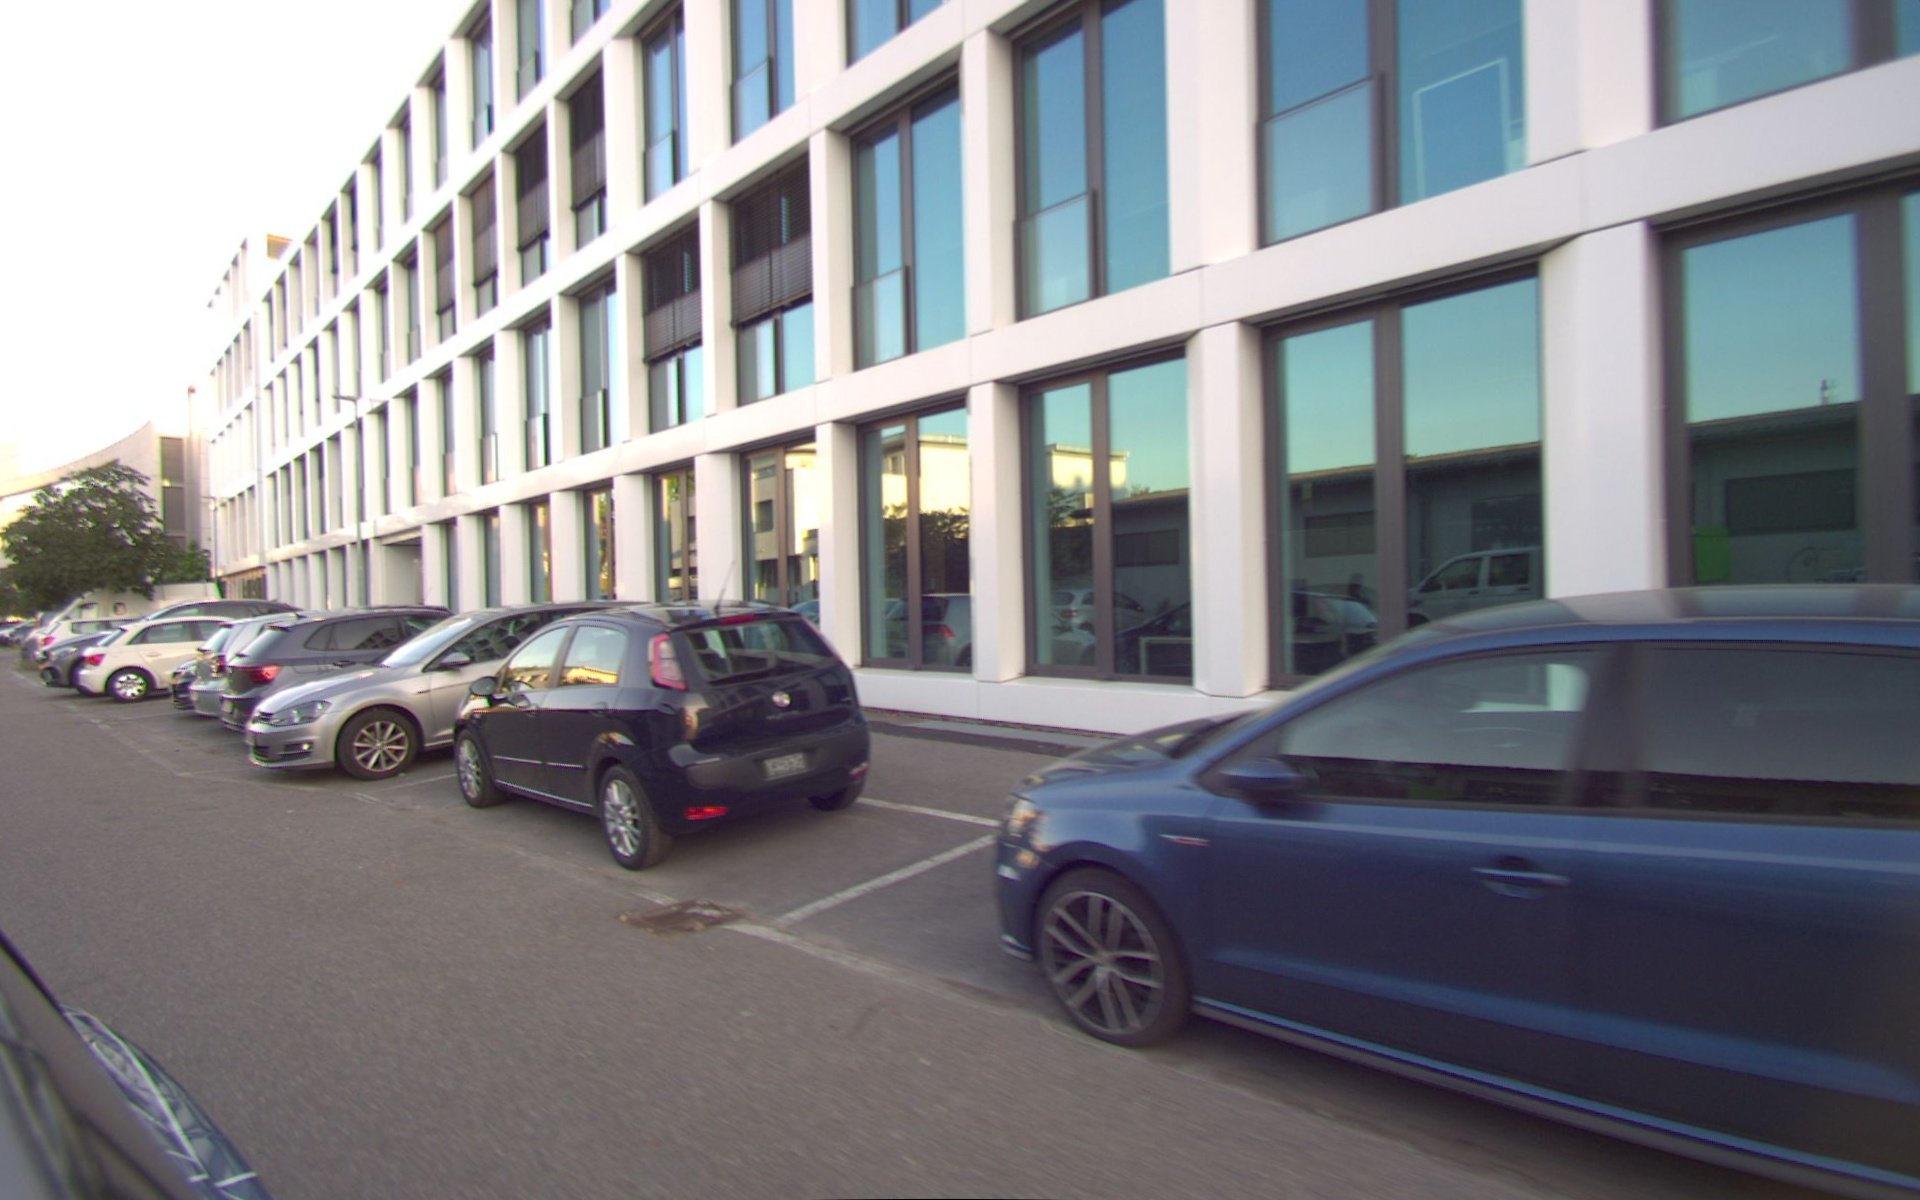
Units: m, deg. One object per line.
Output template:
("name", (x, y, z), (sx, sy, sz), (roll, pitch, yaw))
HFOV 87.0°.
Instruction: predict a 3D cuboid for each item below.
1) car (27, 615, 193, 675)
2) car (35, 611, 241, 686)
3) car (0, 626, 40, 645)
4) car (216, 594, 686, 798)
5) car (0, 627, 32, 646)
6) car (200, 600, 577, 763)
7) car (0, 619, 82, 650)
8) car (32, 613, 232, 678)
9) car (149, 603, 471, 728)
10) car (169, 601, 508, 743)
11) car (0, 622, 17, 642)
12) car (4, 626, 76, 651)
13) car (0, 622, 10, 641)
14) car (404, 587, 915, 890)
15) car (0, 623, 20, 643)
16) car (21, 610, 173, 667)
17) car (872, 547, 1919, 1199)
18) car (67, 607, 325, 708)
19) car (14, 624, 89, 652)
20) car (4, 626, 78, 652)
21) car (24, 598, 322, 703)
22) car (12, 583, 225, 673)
("car", (-25.502, 1.299, 30.418), (3.666, 1.506, 1.708), (-3, 1, -45))
("car", (-20.298, 1.147, 25.082), (1.694, 1.534, 3.740), (-2, 1, 44))
("car", (-74.523, 2.816, 78.948), (1.797, 1.371, 3.765), (-2, 2, 39))
("car", (-4.983, 0.800, 10.240), (3.880, 1.522, 1.689), (-3, 1, -44))
("car", (-76.628, 2.947, 80.599), (1.797, 1.371, 3.765), (-2, 2, 39))
("car", (-6.772, 0.857, 12.209), (3.612, 1.522, 1.689), (-3, 1, -44))
("car", (-66.898, 2.519, 73.035), (1.887, 1.895, 5.020), (-2, 2, 39))
("car", (-23.505, 1.245, 28.818), (4.257, 1.506, 1.796), (-3, 1, -43))
("car", (-9.988, 0.914, 15.722), (3.918, 1.522, 1.797), (-3, 1, -43))
("car", (-8.358, 0.875, 13.790), (3.612, 1.522, 1.689), (-3, 1, -44))
("car", (-83.140, 2.830, 86.055), (1.794, 1.595, 3.983), (-2, 1, 33))
("car", (-64.818, 2.687, 71.329), (1.726, 1.435, 3.606), (-2, 2, 43))
("car", (-84.987, 2.870, 87.330), (1.794, 1.595, 3.983), (-2, 1, 33))
("car", (-2.381, 0.748, 7.277), (4.204, 1.449, 1.630), (-1, 4, 45))
("car", (-81.090, 2.814, 84.095), (1.794, 1.595, 3.983), (-2, 1, 33))
("car", (-32.206, 1.388, 37.847), (1.815, 1.830, 4.065), (-2, 1, 41))
("car", (1.777, 0.645, 3.136), (4.184, 1.449, 1.631), (-2, 3, 43))
("car", (-14.045, 0.983, 18.723), (3.622, 1.522, 1.698), (-3, 1, -41))
("car", (-60.897, 2.536, 67.863), (1.726, 1.559, 3.605), (-2, 2, 44))
("car", (-63.000, 2.650, 69.399), (1.726, 1.435, 3.605), (-2, 2, 44))
("car", (-15.844, 0.935, 20.590), (4.562, 1.719, 2.007), (-3, 1, -41))
("car", (-28.319, 0.870, 34.199), (5.318, 2.652, 2.080), (-3, 1, -44))
